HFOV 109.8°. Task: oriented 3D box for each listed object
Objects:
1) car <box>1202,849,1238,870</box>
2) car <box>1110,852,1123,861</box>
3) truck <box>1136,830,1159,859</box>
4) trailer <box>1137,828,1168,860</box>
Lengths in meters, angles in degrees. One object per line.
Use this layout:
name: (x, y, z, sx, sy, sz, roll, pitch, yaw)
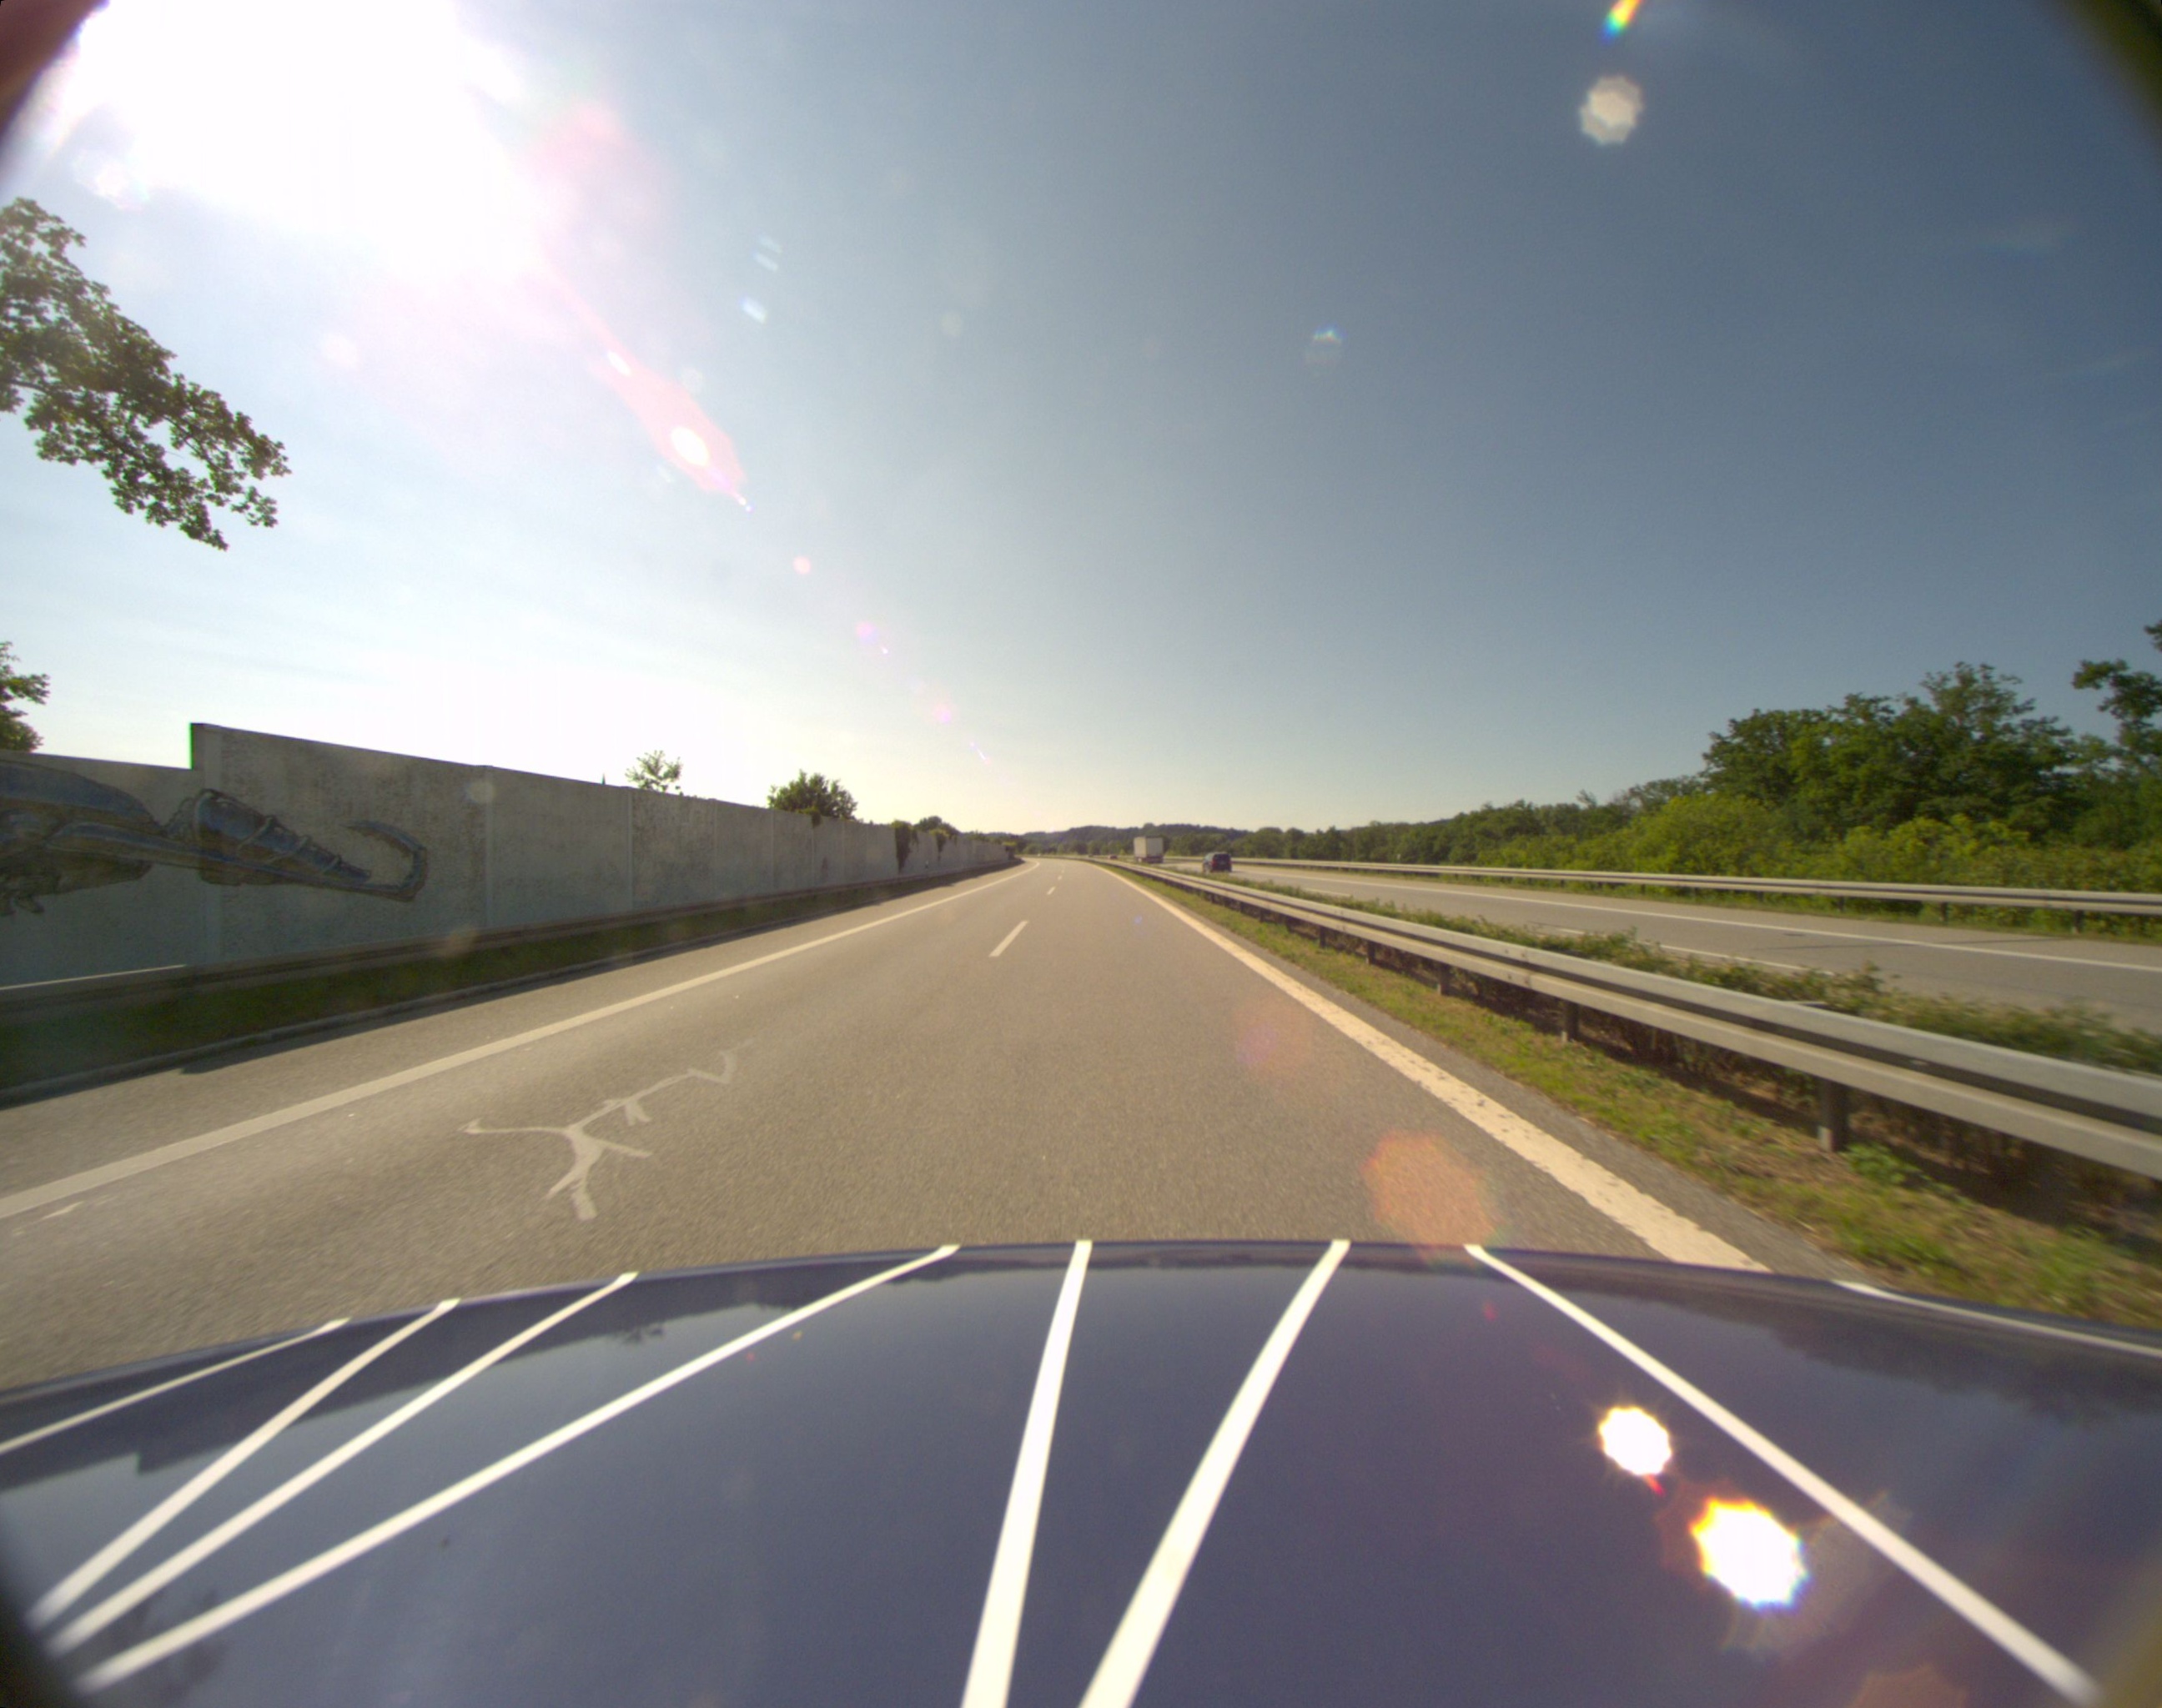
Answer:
car: (11.320, 0.434, 62.150, 1.965, 1.591, 4.866, -1, 0, -2)
car: (6.013, 0.448, 128.698, 1.771, 1.395, 3.999, -1, 0, -2)
truck: (10.662, -1.526, 122.766, 3.103, 4.428, 5.111, -2, 1, -1)
trailer: (10.807, -1.473, 116.436, 3.103, 4.428, 13.745, -2, 0, -1)
